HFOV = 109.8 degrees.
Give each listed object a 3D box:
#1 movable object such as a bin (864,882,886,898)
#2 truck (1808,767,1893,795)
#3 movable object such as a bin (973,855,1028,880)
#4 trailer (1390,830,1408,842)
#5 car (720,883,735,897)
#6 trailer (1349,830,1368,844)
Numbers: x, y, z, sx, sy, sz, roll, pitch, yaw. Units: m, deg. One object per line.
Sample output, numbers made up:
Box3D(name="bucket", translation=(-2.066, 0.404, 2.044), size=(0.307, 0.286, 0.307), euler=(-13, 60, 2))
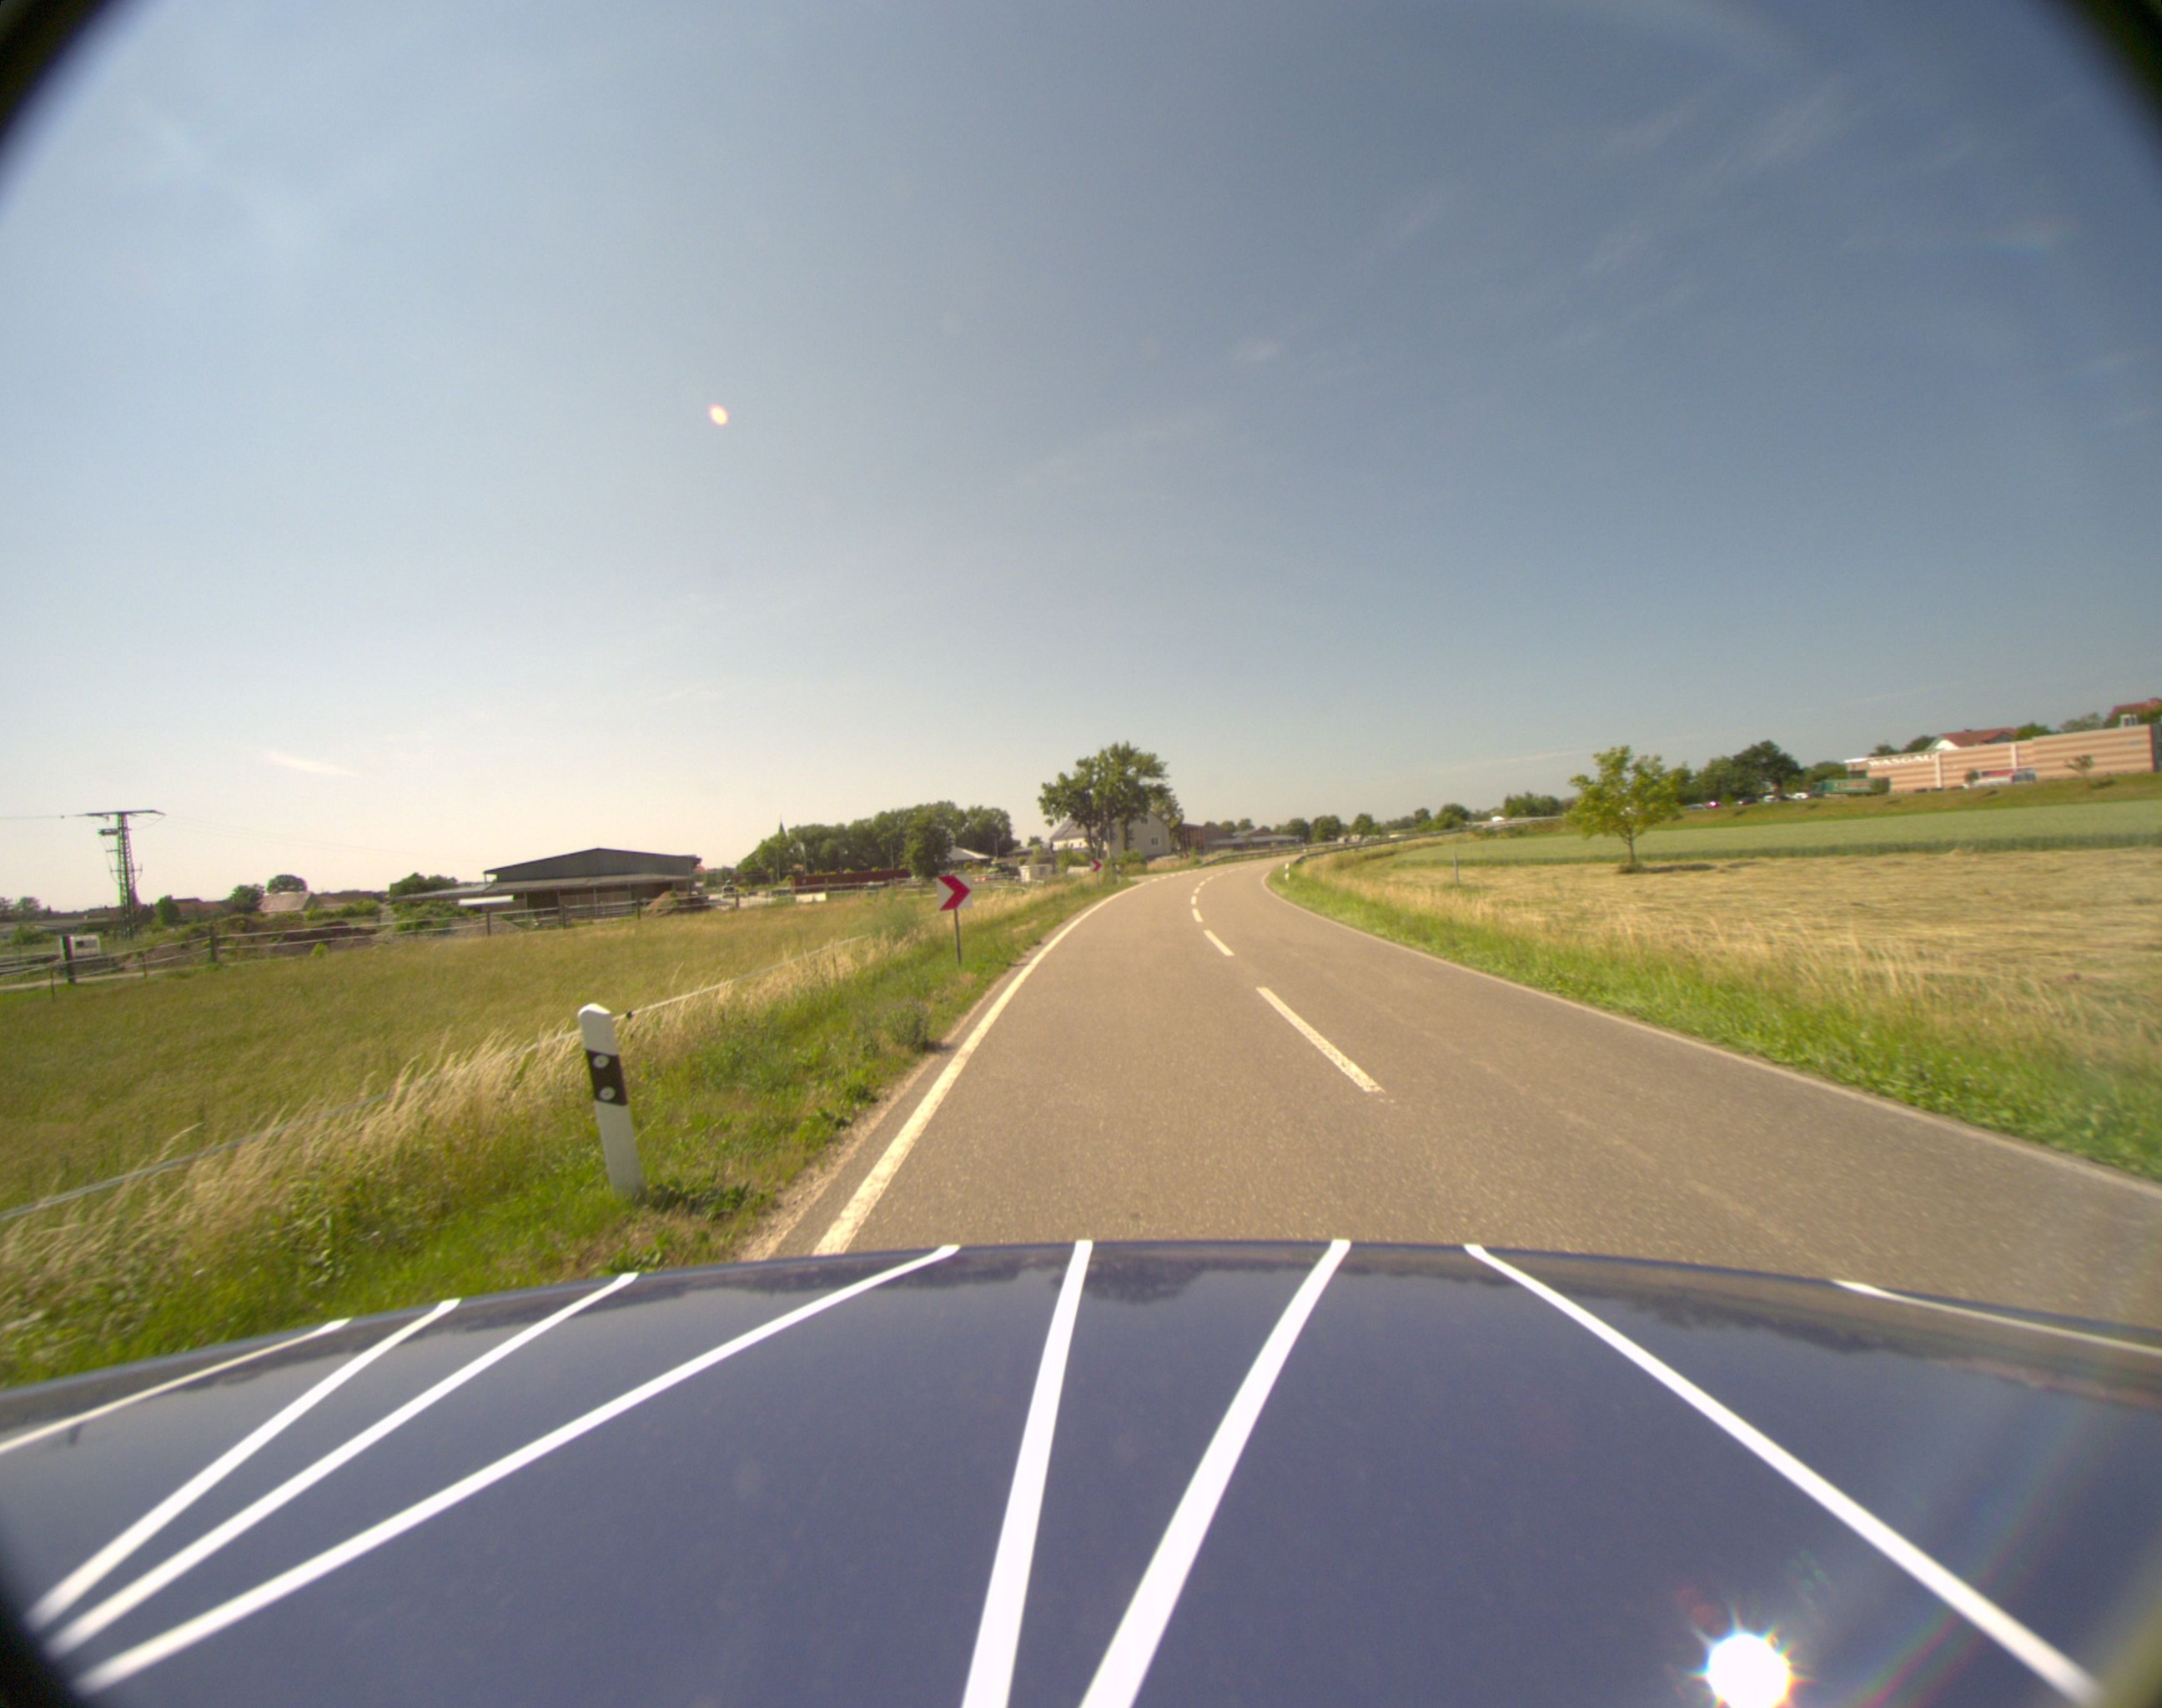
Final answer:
Box3D(name="movable object such as a bin", translation=(-19.076, 3.304, 70.275), size=(1.519, 1.341, 1.370), euler=(-5, 1, -35))
Box3D(name="truck", translation=(133.946, -12.676, 132.487), size=(2.880, 3.457, 9.928), euler=(-7, 1, -19))
Box3D(name="movable object such as a bin", translation=(-10.754, 1.808, 101.966), size=(6.515, 2.753, 3.005), euler=(-4, -1, -39))
Box3D(name="trailer", translation=(79.439, -4.511, 189.919), size=(2.167, 2.789, 3.414), euler=(-6, 1, -27))
Box3D(name="car", translation=(-57.272, 5.839, 123.204), size=(2.002, 2.002, 3.993), euler=(-7, 1, -25))
Box3D(name="trailer", translation=(60.808, -3.745, 166.709), size=(2.233, 2.848, 5.044), euler=(-4, 0, 0))
